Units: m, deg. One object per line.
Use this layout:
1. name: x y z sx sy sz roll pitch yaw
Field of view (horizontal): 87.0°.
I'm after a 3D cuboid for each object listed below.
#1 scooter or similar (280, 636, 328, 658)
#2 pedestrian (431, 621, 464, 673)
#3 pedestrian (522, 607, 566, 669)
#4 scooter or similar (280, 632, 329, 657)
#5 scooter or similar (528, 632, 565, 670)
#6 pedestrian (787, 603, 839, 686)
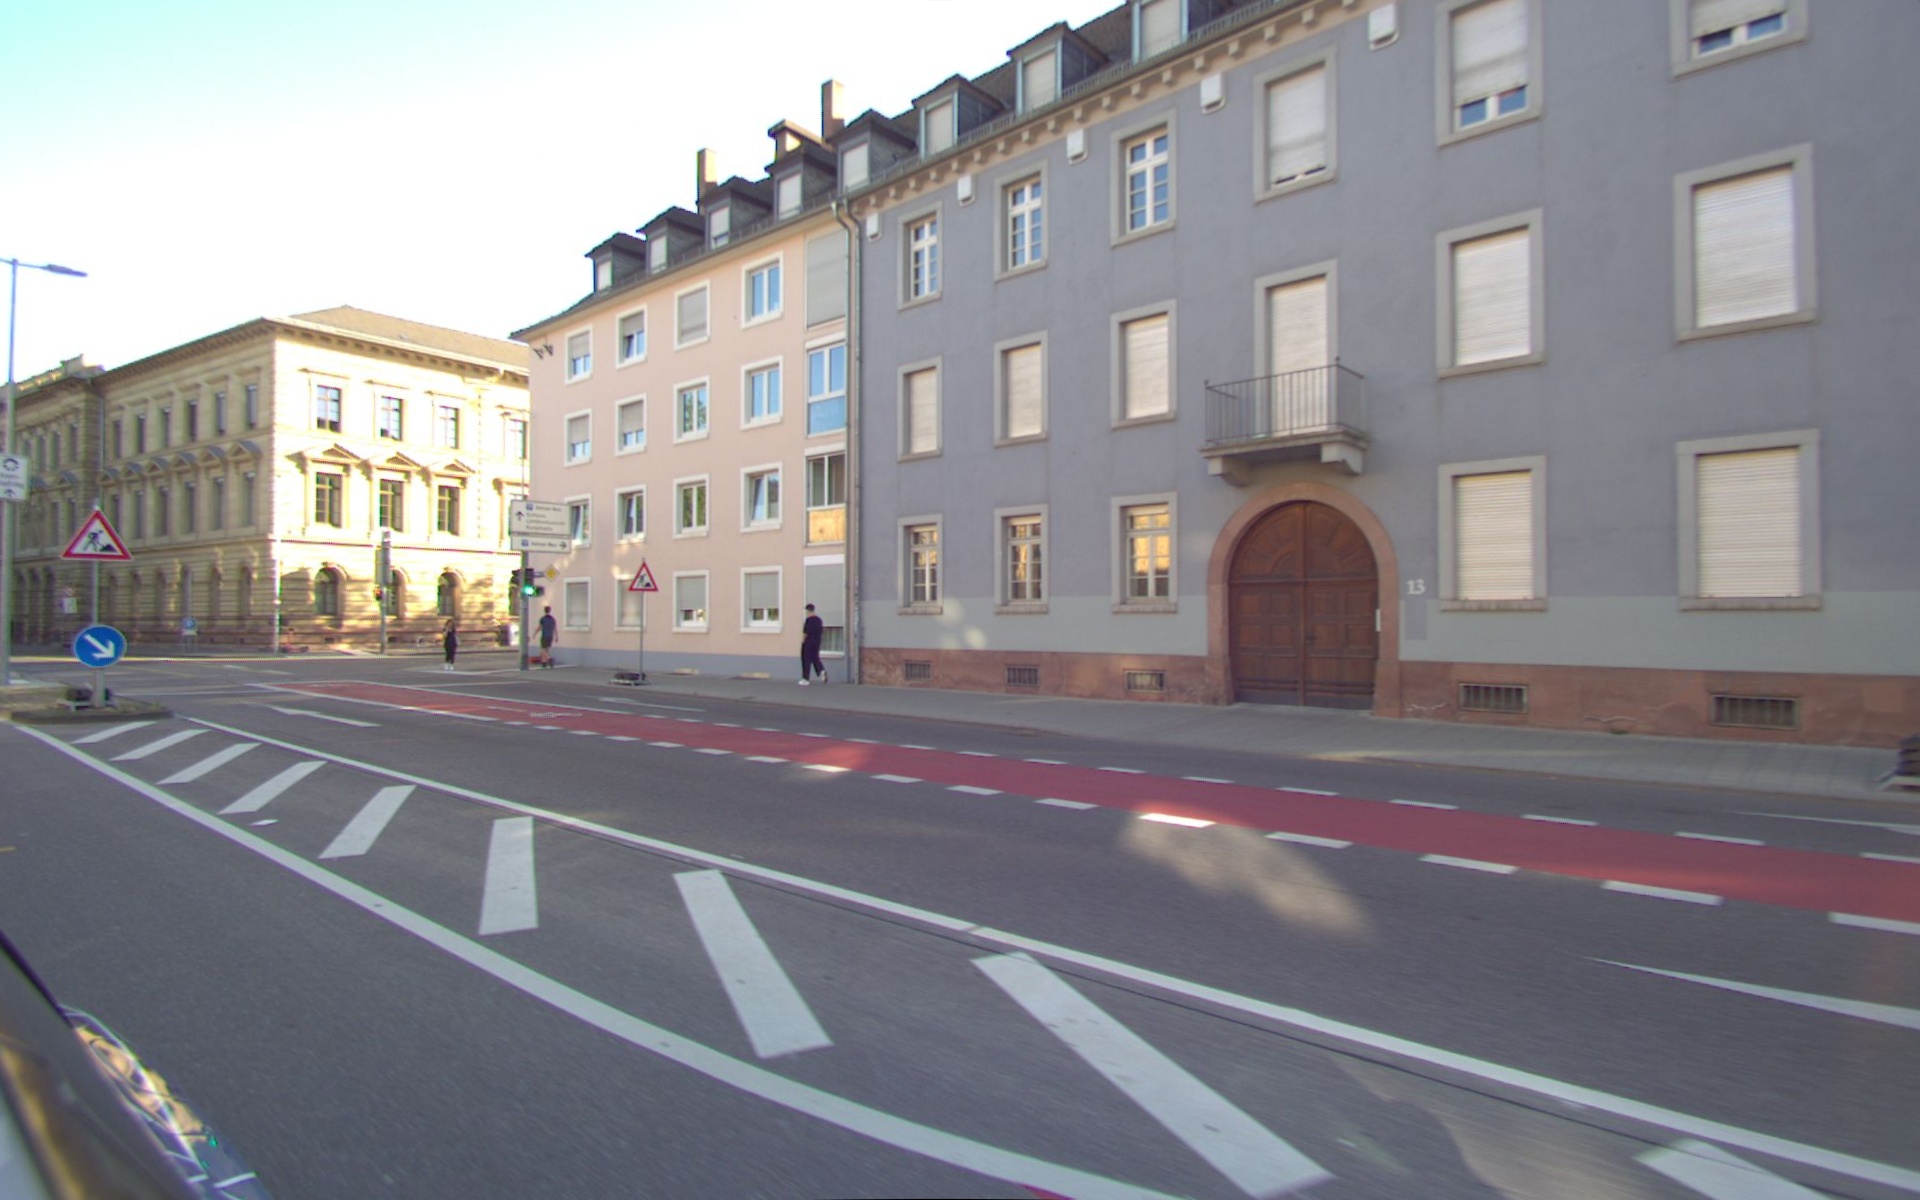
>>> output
1. scooter or similar: -32.995 2.350 50.933 0.455 1.060 2.008 -2 -2 37
2. pedestrian: -16.270 1.479 32.130 0.818 1.595 0.625 -2 1 41
3. pedestrian: -12.929 1.172 31.466 1.015 1.877 0.858 -2 0 42
4. scooter or similar: -32.425 2.200 50.108 1.998 1.197 0.457 1 -2 -28
5. scooter or similar: -13.483 1.646 32.966 1.474 1.194 0.527 -2 -1 43
6. pedestrian: -3.423 1.020 23.510 1.012 1.860 0.625 -2 1 41
